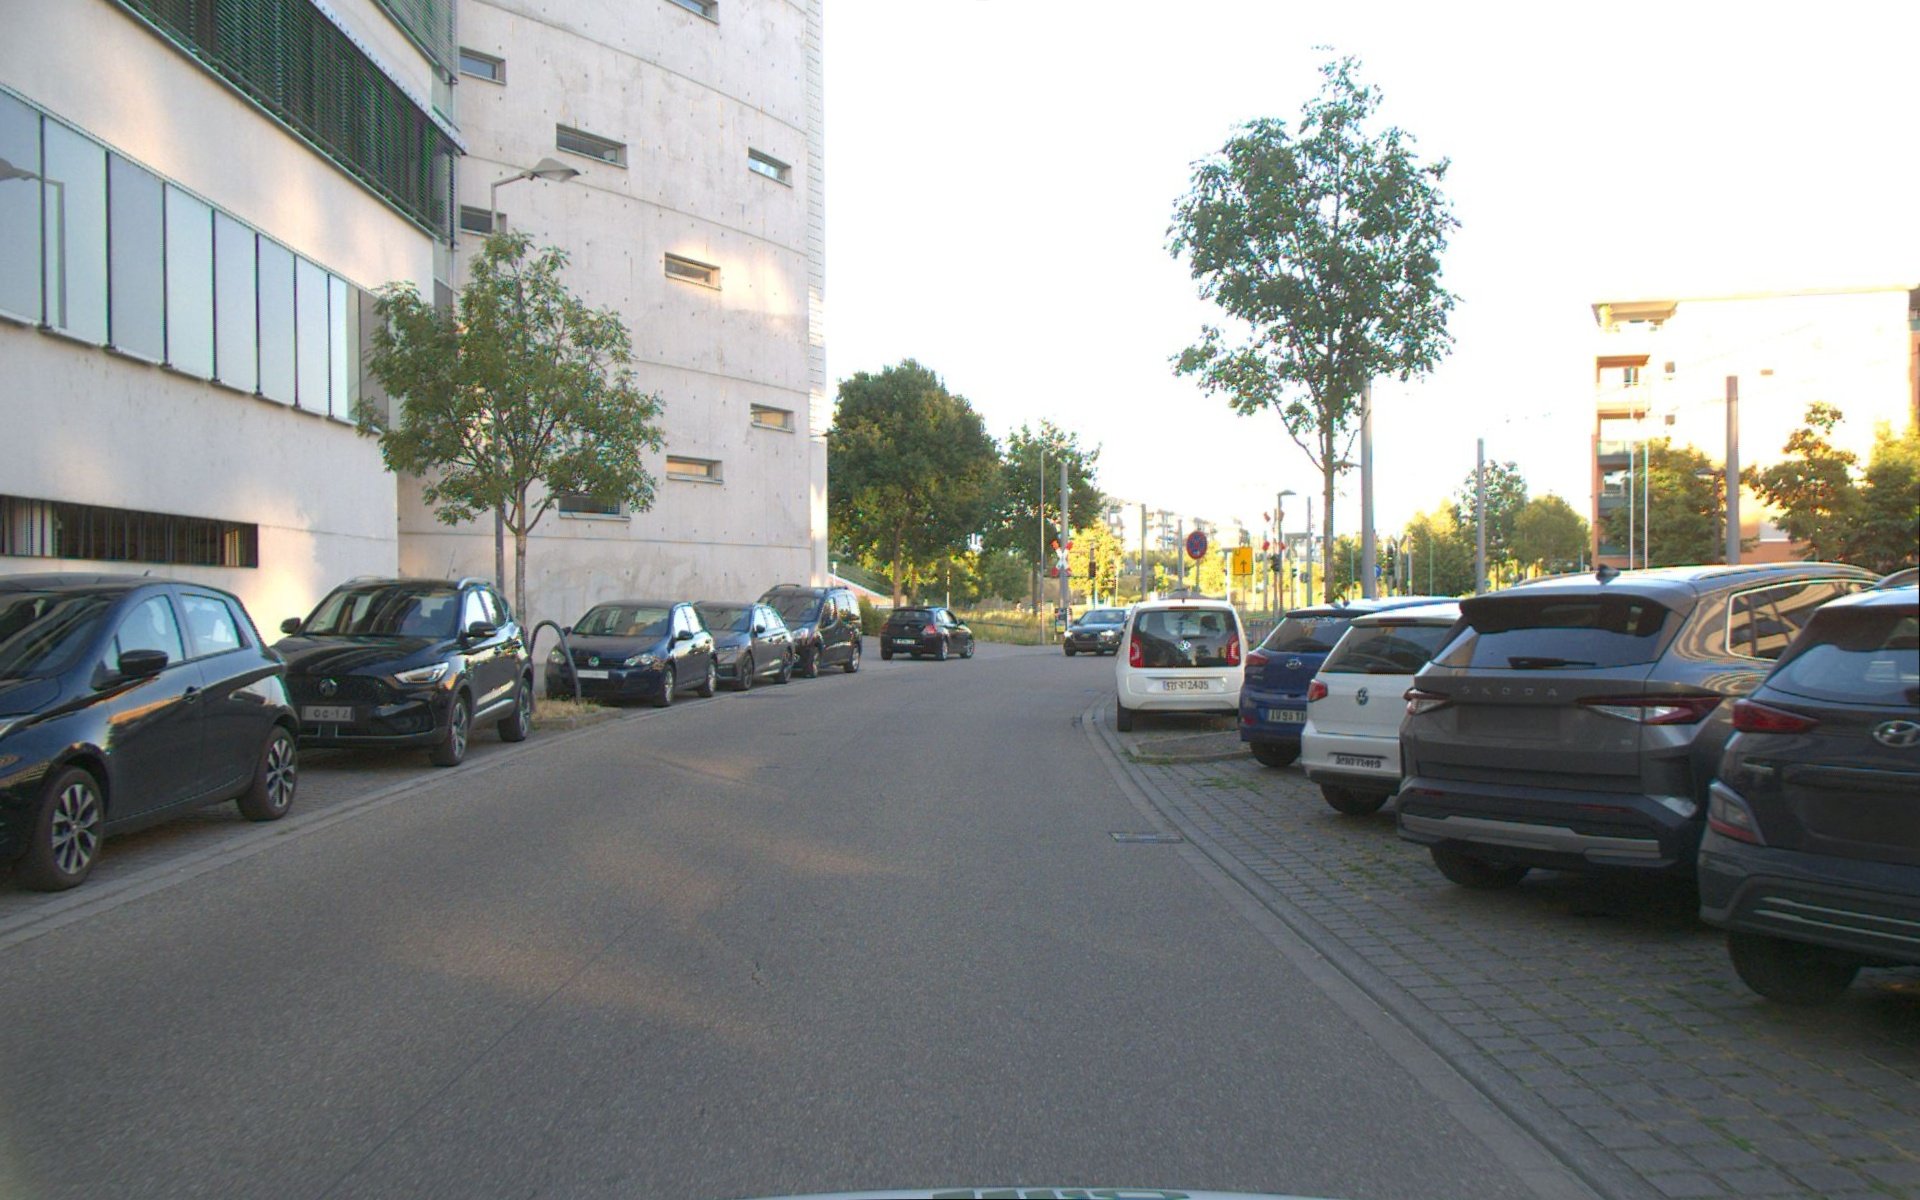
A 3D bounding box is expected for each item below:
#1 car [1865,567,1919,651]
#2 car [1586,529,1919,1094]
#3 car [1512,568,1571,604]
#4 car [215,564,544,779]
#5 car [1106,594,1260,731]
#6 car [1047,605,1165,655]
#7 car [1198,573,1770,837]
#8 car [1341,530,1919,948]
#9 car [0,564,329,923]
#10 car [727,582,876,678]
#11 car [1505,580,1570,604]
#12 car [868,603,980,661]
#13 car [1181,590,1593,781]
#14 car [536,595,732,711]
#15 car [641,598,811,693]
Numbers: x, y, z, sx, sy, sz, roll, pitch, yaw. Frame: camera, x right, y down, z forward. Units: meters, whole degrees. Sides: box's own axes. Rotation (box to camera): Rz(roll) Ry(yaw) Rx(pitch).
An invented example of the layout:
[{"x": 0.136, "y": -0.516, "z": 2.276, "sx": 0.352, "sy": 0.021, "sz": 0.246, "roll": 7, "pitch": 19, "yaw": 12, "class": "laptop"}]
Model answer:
[{"x": 24.496, "y": 0.189, "z": 39.779, "sx": 4.403, "sy": 1.970, "sz": 1.931, "roll": 0, "pitch": 0, "yaw": 0, "class": "car"}, {"x": 4.433, "y": 0.565, "z": 6.020, "sx": 3.931, "sy": 1.668, "sz": 1.954, "roll": -2, "pitch": 0, "yaw": -30, "class": "car"}, {"x": 43.472, "y": -1.044, "z": 123.629, "sx": 4.067, "sy": 2.629, "sz": 1.703, "roll": 0, "pitch": 0, "yaw": 20, "class": "car"}, {"x": -5.158, "y": 0.556, "z": 15.273, "sx": 1.720, "sy": 1.682, "sz": 3.947, "roll": 2, "pitch": 1, "yaw": -2, "class": "car"}, {"x": 2.687, "y": 0.701, "z": 20.271, "sx": 1.686, "sy": 1.493, "sz": 3.555, "roll": -1, "pitch": 0, "yaw": 6, "class": "car"}, {"x": 4.492, "y": 0.876, "z": 50.341, "sx": 1.746, "sy": 1.447, "sz": 4.504, "roll": 0, "pitch": 0, "yaw": 32, "class": "car"}, {"x": 3.876, "y": 0.642, "z": 12.123, "sx": 3.882, "sy": 1.535, "sz": 1.936, "roll": -2, "pitch": 1, "yaw": -32, "class": "car"}, {"x": 3.965, "y": 0.588, "z": 8.730, "sx": 3.734, "sy": 1.756, "sz": 1.743, "roll": 1, "pitch": 1, "yaw": -35, "class": "car"}, {"x": -5.180, "y": 0.608, "z": 9.322, "sx": 1.720, "sy": 1.588, "sz": 4.042, "roll": 2, "pitch": 1, "yaw": -1, "class": "car"}, {"x": -3.244, "y": 0.582, "z": 34.773, "sx": 1.720, "sy": 1.830, "sz": 4.467, "roll": 2, "pitch": 1, "yaw": 14, "class": "car"}, {"x": 39.410, "y": -0.525, "z": 112.911, "sx": 4.070, "sy": 1.604, "sz": 1.702, "roll": 0, "pitch": 0, "yaw": 24, "class": "car"}, {"x": -0.918, "y": 0.837, "z": 45.229, "sx": 1.903, "sy": 1.407, "sz": 4.402, "roll": 2, "pitch": 1, "yaw": 15, "class": "car"}, {"x": 3.995, "y": 0.716, "z": 15.293, "sx": 3.710, "sy": 1.535, "sz": 1.668, "roll": 1, "pitch": 1, "yaw": -35, "class": "car"}, {"x": -4.689, "y": 0.702, "z": 24.416, "sx": 1.686, "sy": 1.483, "sz": 4.274, "roll": 2, "pitch": 1, "yaw": 5, "class": "car"}, {"x": -4.060, "y": 0.742, "z": 29.495, "sx": 1.686, "sy": 1.483, "sz": 4.698, "roll": 2, "pitch": 1, "yaw": 9, "class": "car"}]
